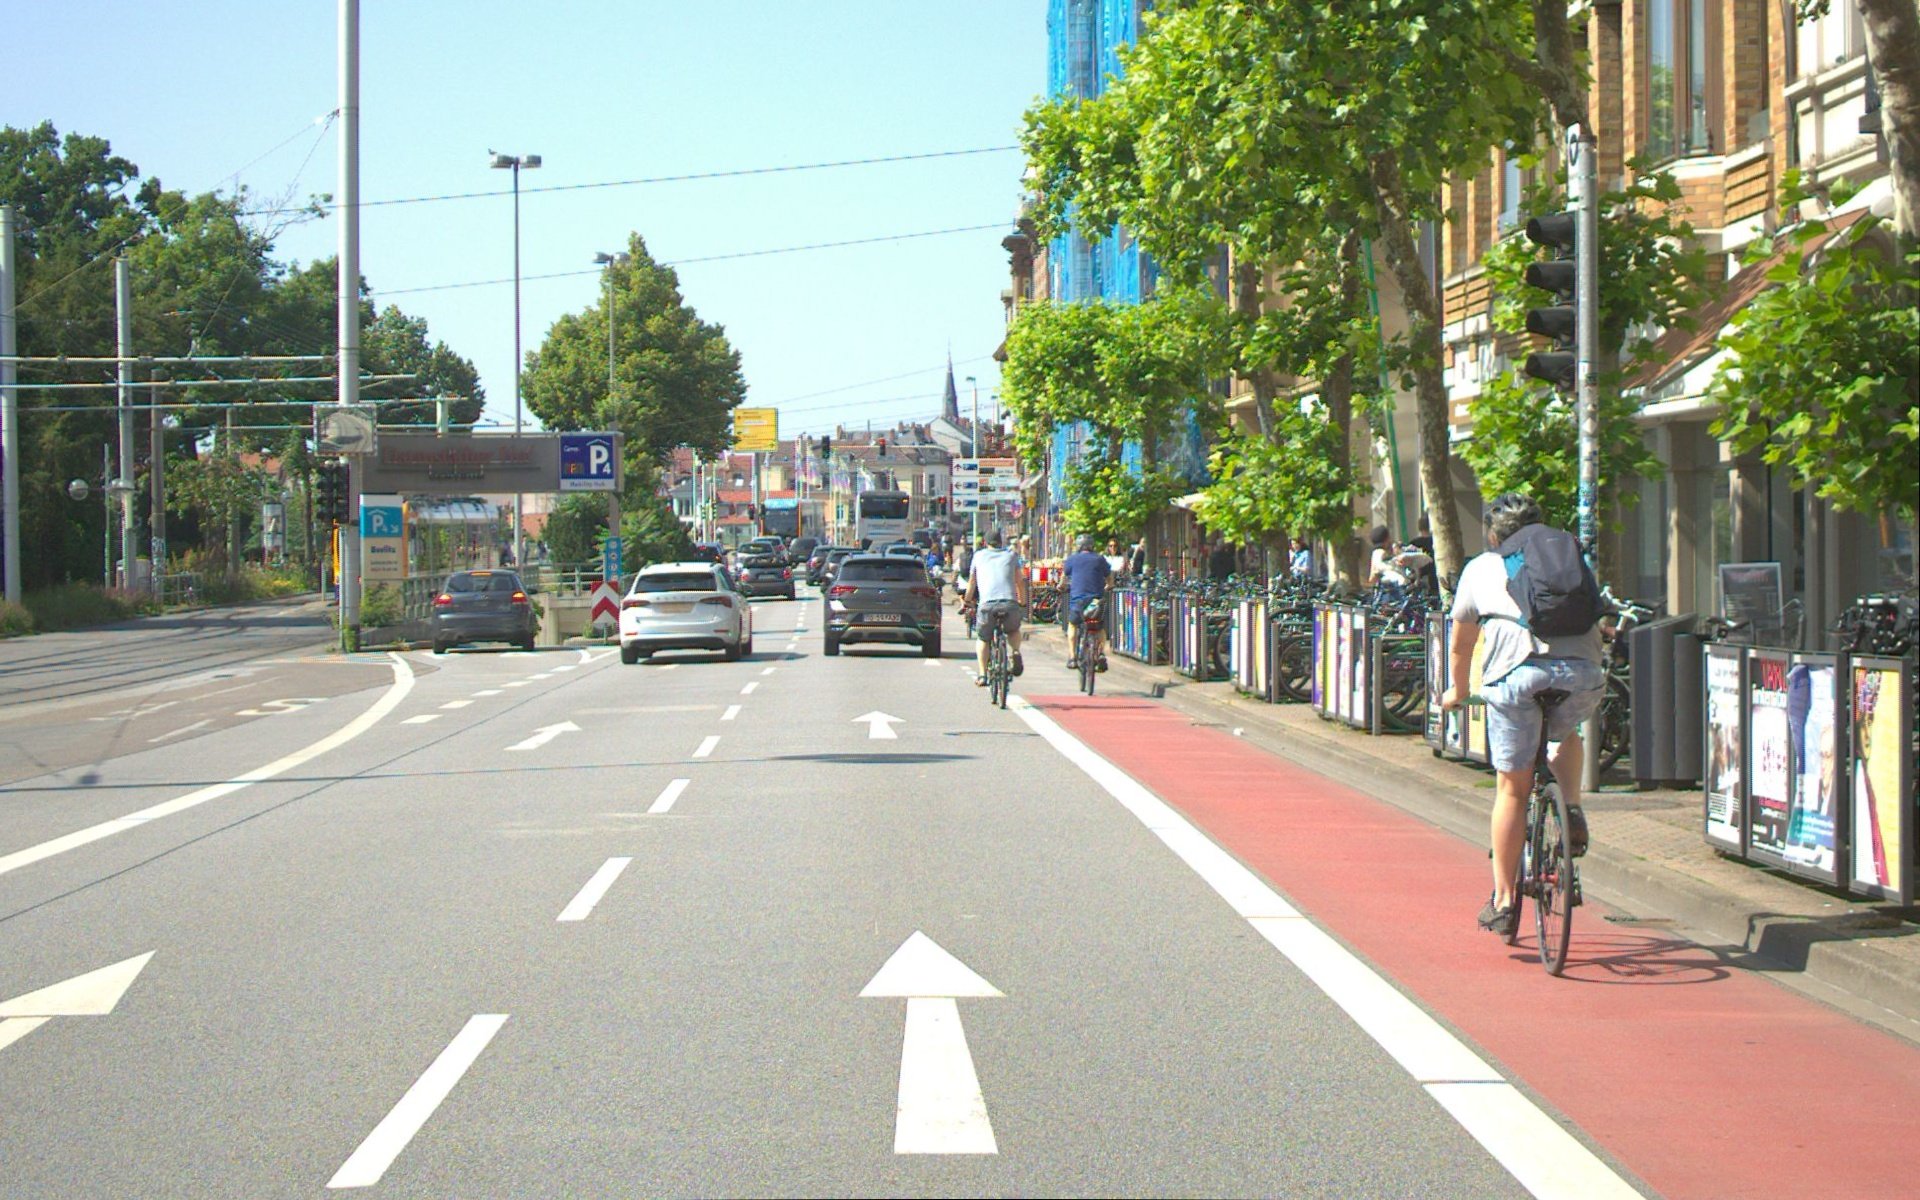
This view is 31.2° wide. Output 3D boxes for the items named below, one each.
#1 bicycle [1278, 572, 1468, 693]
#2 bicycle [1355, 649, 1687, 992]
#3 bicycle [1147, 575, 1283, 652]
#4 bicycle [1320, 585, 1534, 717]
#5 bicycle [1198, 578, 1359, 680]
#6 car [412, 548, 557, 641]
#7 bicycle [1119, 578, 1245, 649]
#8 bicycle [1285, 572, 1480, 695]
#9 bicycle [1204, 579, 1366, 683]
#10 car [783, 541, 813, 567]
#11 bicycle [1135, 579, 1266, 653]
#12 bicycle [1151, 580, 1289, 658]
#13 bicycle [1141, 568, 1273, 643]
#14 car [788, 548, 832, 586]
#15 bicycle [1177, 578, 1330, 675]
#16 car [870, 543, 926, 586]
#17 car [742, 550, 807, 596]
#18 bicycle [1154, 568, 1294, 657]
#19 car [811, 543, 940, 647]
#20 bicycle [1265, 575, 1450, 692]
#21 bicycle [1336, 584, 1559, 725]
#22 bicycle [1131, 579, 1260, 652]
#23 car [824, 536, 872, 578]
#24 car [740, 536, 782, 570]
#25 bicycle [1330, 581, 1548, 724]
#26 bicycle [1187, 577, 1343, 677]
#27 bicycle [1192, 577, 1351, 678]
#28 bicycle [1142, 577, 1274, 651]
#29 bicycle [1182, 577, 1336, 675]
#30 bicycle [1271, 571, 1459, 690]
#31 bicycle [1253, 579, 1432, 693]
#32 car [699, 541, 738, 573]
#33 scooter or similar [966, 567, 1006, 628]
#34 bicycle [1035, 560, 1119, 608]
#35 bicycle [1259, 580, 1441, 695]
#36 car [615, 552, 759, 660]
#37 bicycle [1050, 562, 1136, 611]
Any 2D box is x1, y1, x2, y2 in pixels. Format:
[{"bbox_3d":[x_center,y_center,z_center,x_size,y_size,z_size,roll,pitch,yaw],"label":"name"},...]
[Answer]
[{"bbox_3d":[3.946,0.304,32.895,1.752,1.143,0.483,0,1,-4],"label":"bicycle"},{"bbox_3d":[2.019,0.761,12.683,0.734,1.089,2.131,2,1,-3],"label":"bicycle"},{"bbox_3d":[3.380,0.174,45.640,1.752,1.014,0.483,0,1,-4],"label":"bicycle"},{"bbox_3d":[3.992,0.430,29.430,1.752,1.119,0.483,0,1,-4],"label":"bicycle"},{"bbox_3d":[3.603,0.320,38.918,1.752,1.143,0.483,0,1,-4],"label":"bicycle"},{"bbox_3d":[-8.222,-0.119,59.734,1.993,1.503,4.000,2,1,-1],"label":"car"},{"bbox_3d":[3.191,0.195,49.451,1.752,1.014,0.483,0,1,-4],"label":"bicycle"},{"bbox_3d":[3.963,0.310,32.299,1.752,1.143,0.499,0,1,-4],"label":"bicycle"},{"bbox_3d":[3.627,0.343,38.416,1.752,1.143,0.483,0,1,-4],"label":"bicycle"},{"bbox_3d":[-8.306,-2.341,176.238,1.451,1.296,3.342,2,1,-2],"label":"car"},{"bbox_3d":[3.328,0.217,47.628,1.752,1.014,0.483,0,1,-4],"label":"bicycle"},{"bbox_3d":[3.395,0.247,44.968,1.752,1.014,0.483,0,1,-4],"label":"bicycle"},{"bbox_3d":[3.376,0.075,47.100,1.752,1.014,0.483,0,1,-4],"label":"bicycle"},{"bbox_3d":[-5.393,-1.194,123.483,1.451,1.296,3.342,2,1,-4],"label":"car"},{"bbox_3d":[3.487,0.308,40.876,1.752,1.143,0.483,0,1,-4],"label":"bicycle"},{"bbox_3d":[-2.304,-1.317,126.818,1.993,1.487,4.000,2,1,-1],"label":"car"},{"bbox_3d":[-5.644,-0.831,105.073,1.815,1.328,4.000,2,1,-1],"label":"car"},{"bbox_3d":[3.405,0.158,44.436,1.752,1.143,0.483,0,1,-4],"label":"bicycle"},{"bbox_3d":[-1.283,-0.095,52.827,1.873,1.487,4.000,2,1,-1],"label":"car"},{"bbox_3d":[3.920,0.321,33.921,1.752,1.143,0.483,0,1,-4],"label":"bicycle"},{"bbox_3d":[4.005,0.444,28.261,1.752,1.143,0.483,0,1,-4],"label":"bicycle"},{"bbox_3d":[3.289,0.210,48.142,1.752,1.014,0.483,0,1,-4],"label":"bicycle"},{"bbox_3d":[-3.611,-1.373,110.642,1.451,1.296,3.342,2,1,-3],"label":"car"},{"bbox_3d":[-7.892,-1.858,136.495,1.451,1.296,4.000,2,1,-1],"label":"car"},{"bbox_3d":[4.017,0.438,28.859,1.752,1.183,0.483,0,1,-4],"label":"bicycle"},{"bbox_3d":[3.534,0.308,39.893,1.752,1.143,0.483,0,1,-4],"label":"bicycle"},{"bbox_3d":[3.566,0.314,39.405,1.752,1.143,0.483,0,1,-4],"label":"bicycle"},{"bbox_3d":[3.342,0.188,46.364,1.717,0.981,0.483,0,1,-4],"label":"bicycle"},{"bbox_3d":[3.511,0.302,40.376,1.752,1.143,0.483,0,1,-4],"label":"bicycle"},{"bbox_3d":[3.928,0.289,33.415,1.752,1.143,0.483,0,1,-4],"label":"bicycle"},{"bbox_3d":[3.880,0.361,34.948,1.752,1.143,0.483,0,1,-4],"label":"bicycle"},{"bbox_3d":[-10.419,-1.862,148.633,1.451,1.296,4.000,2,1,-1],"label":"car"},{"bbox_3d":[0.507,-0.058,66.925,0.688,1.163,1.464,2,1,-2],"label":"scooter or similar"},{"bbox_3d":[2.478,-0.338,73.060,1.752,1.014,0.483,0,1,-4],"label":"bicycle"},{"bbox_3d":[3.898,0.371,34.424,1.752,1.143,0.483,0,1,-4],"label":"bicycle"},{"bbox_3d":[-4.030,0.065,51.323,1.858,1.502,4.000,2,1,-1],"label":"car"},{"bbox_3d":[2.751,-0.274,71.117,1.752,1.014,0.483,0,1,-4],"label":"bicycle"}]
